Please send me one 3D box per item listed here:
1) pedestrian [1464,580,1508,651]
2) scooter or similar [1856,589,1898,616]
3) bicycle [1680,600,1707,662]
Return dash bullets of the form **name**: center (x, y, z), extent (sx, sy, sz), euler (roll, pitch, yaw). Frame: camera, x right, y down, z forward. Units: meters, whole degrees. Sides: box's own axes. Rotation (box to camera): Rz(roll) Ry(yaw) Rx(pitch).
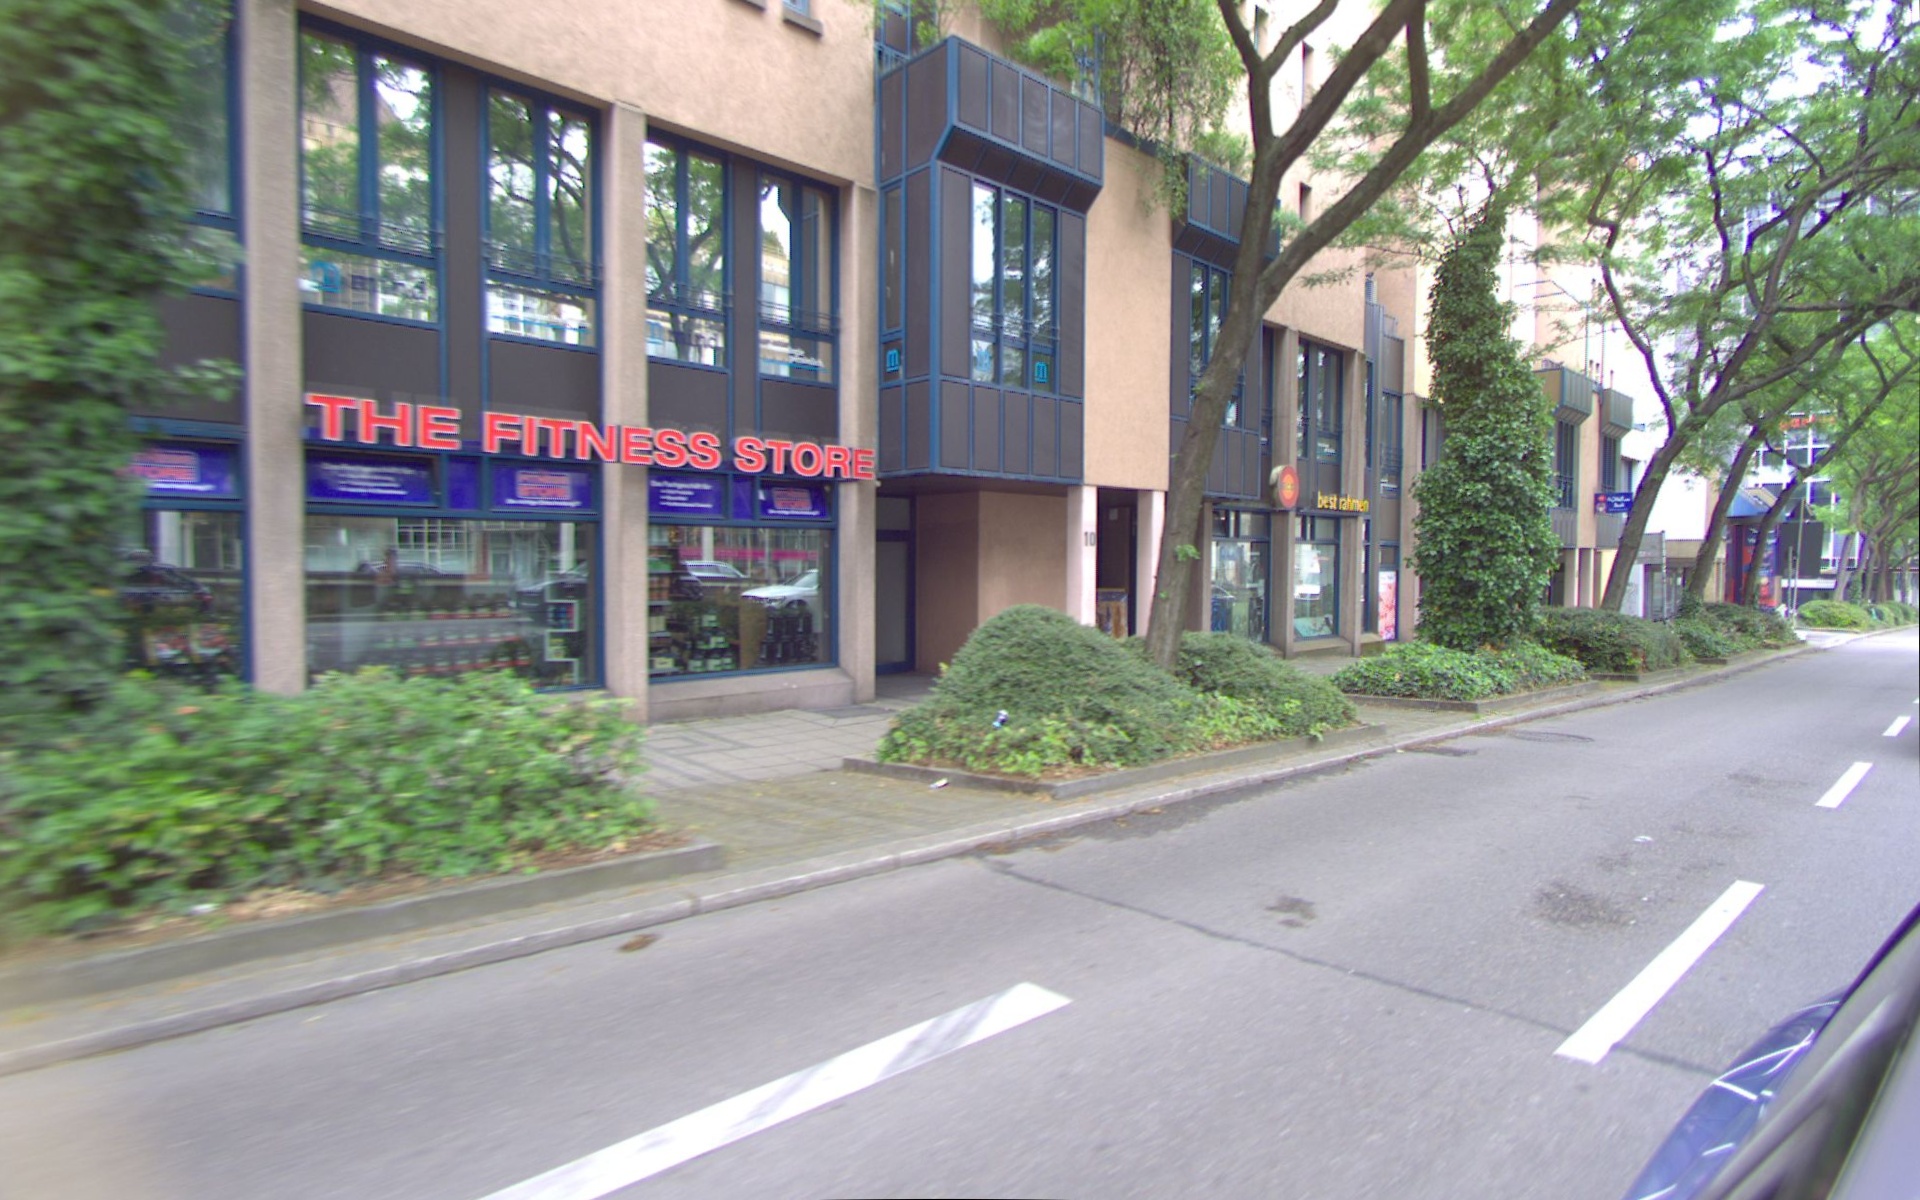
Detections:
- **pedestrian**: center (13.052, 0.372, 25.111), extent (0.674, 1.733, 0.711), euler (1, 0, -36)
- **scooter or similar**: center (48.657, 0.122, 53.717), extent (1.513, 1.452, 0.684), euler (0, 0, 17)
- **bicycle**: center (15.227, 0.619, 20.996), extent (0.361, 1.216, 1.548), euler (2, 2, 39)
